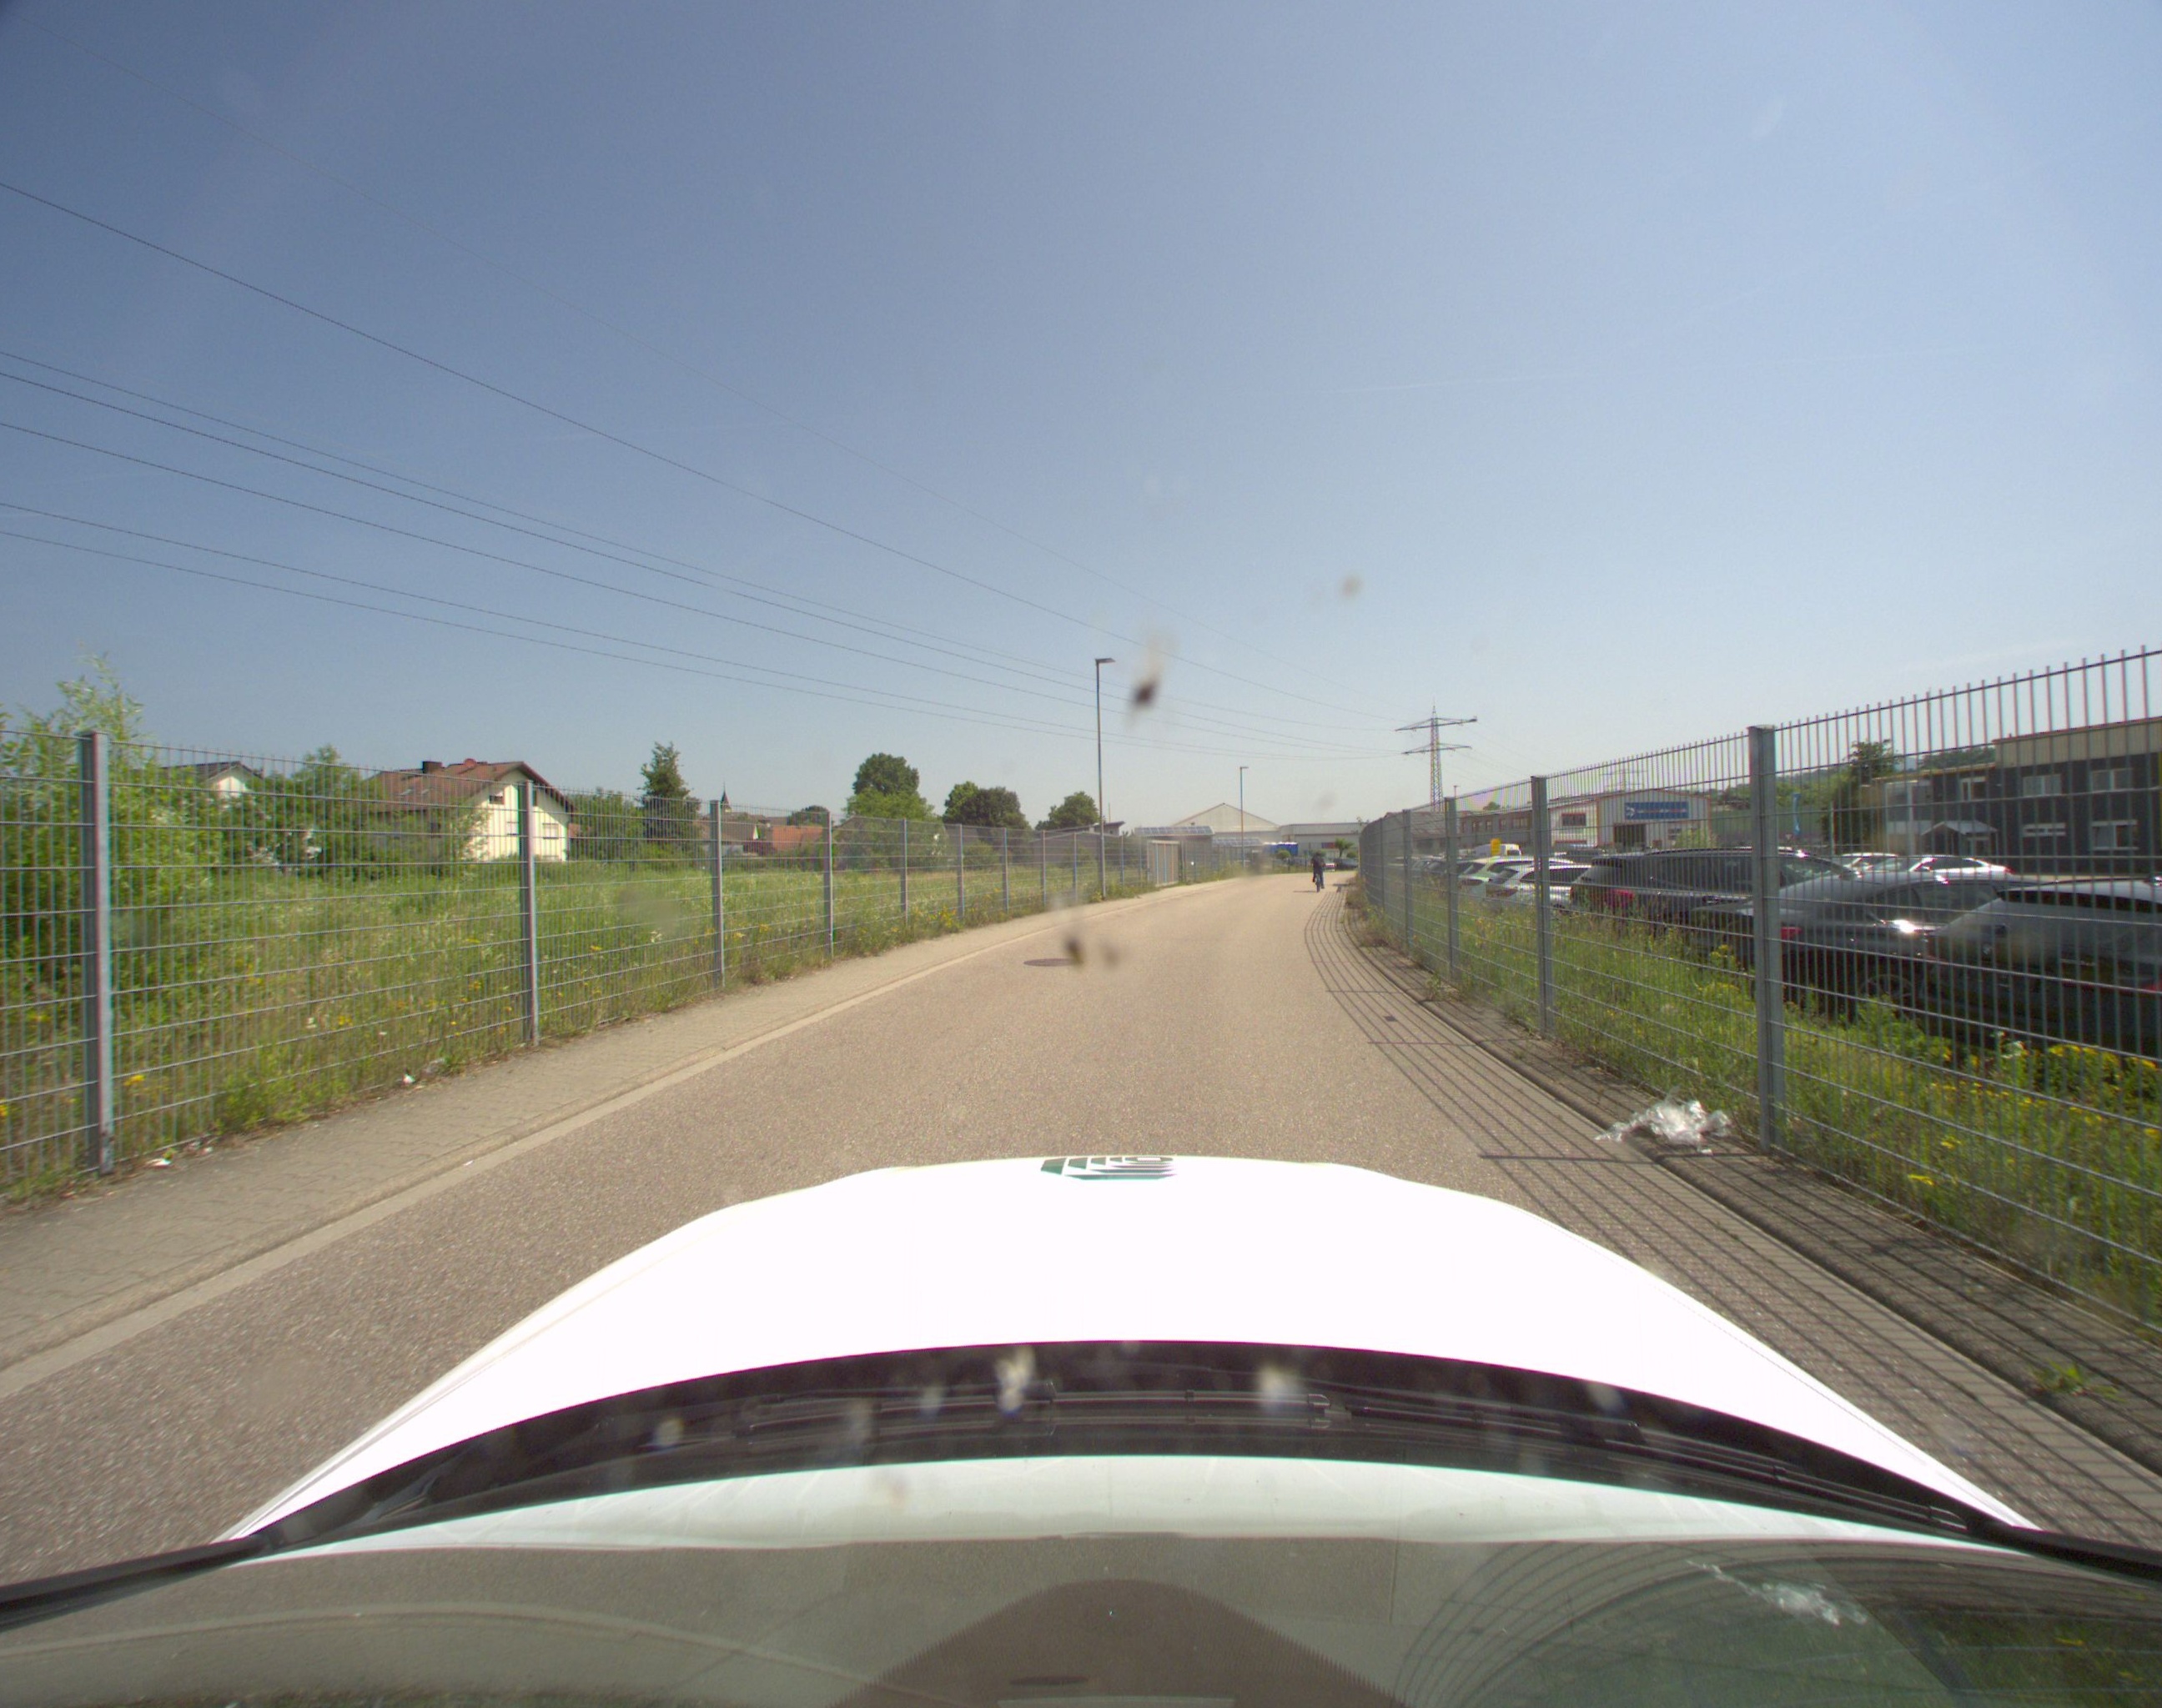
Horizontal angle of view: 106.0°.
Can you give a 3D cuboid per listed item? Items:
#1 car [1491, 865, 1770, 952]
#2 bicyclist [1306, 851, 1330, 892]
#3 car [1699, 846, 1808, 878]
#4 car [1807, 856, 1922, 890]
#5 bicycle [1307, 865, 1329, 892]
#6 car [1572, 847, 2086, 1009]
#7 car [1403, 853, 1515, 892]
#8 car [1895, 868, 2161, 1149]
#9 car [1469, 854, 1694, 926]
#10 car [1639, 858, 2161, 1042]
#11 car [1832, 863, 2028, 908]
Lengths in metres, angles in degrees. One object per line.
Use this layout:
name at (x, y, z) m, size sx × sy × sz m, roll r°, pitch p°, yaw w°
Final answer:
car at (10.576, 0.996, 16.038) m, size 4.178 × 1.406 × 1.846 m, roll 2°, pitch 0°, yaw 16°
bicyclist at (9.572, 0.677, 32.857) m, size 0.835 × 1.618 × 1.045 m, roll 0°, pitch 1°, yaw 22°
car at (41.516, 0.499, 50.375) m, size 5.037 × 1.899 × 1.859 m, roll -1°, pitch -1°, yaw 3°
car at (34.874, 0.850, 36.307) m, size 3.643 × 1.436 × 1.535 m, roll -1°, pitch -1°, yaw 0°
bicycle at (9.583, 0.971, 32.871) m, size 0.679 × 1.051 × 1.911 m, roll 0°, pitch 0°, yaw 22°
car at (8.614, 0.807, 9.926) m, size 4.244 × 1.637 × 1.774 m, roll -2°, pitch 0°, yaw 21°
car at (16.282, 0.772, 35.276) m, size 4.133 × 1.474 × 1.644 m, roll 2°, pitch 0°, yaw 15°
car at (7.852, 0.777, 4.659) m, size 4.315 × 1.378 × 1.769 m, roll -2°, pitch 0°, yaw 8°
car at (11.372, 0.768, 18.863) m, size 4.174 × 1.406 × 1.848 m, roll 2°, pitch 0°, yaw 22°
car at (7.905, 0.801, 7.463) m, size 4.249 × 1.378 × 1.772 m, roll -2°, pitch 0°, yaw 14°
car at (27.347, 0.986, 26.343) m, size 4.489 × 1.351 × 1.628 m, roll -1°, pitch -1°, yaw 3°
